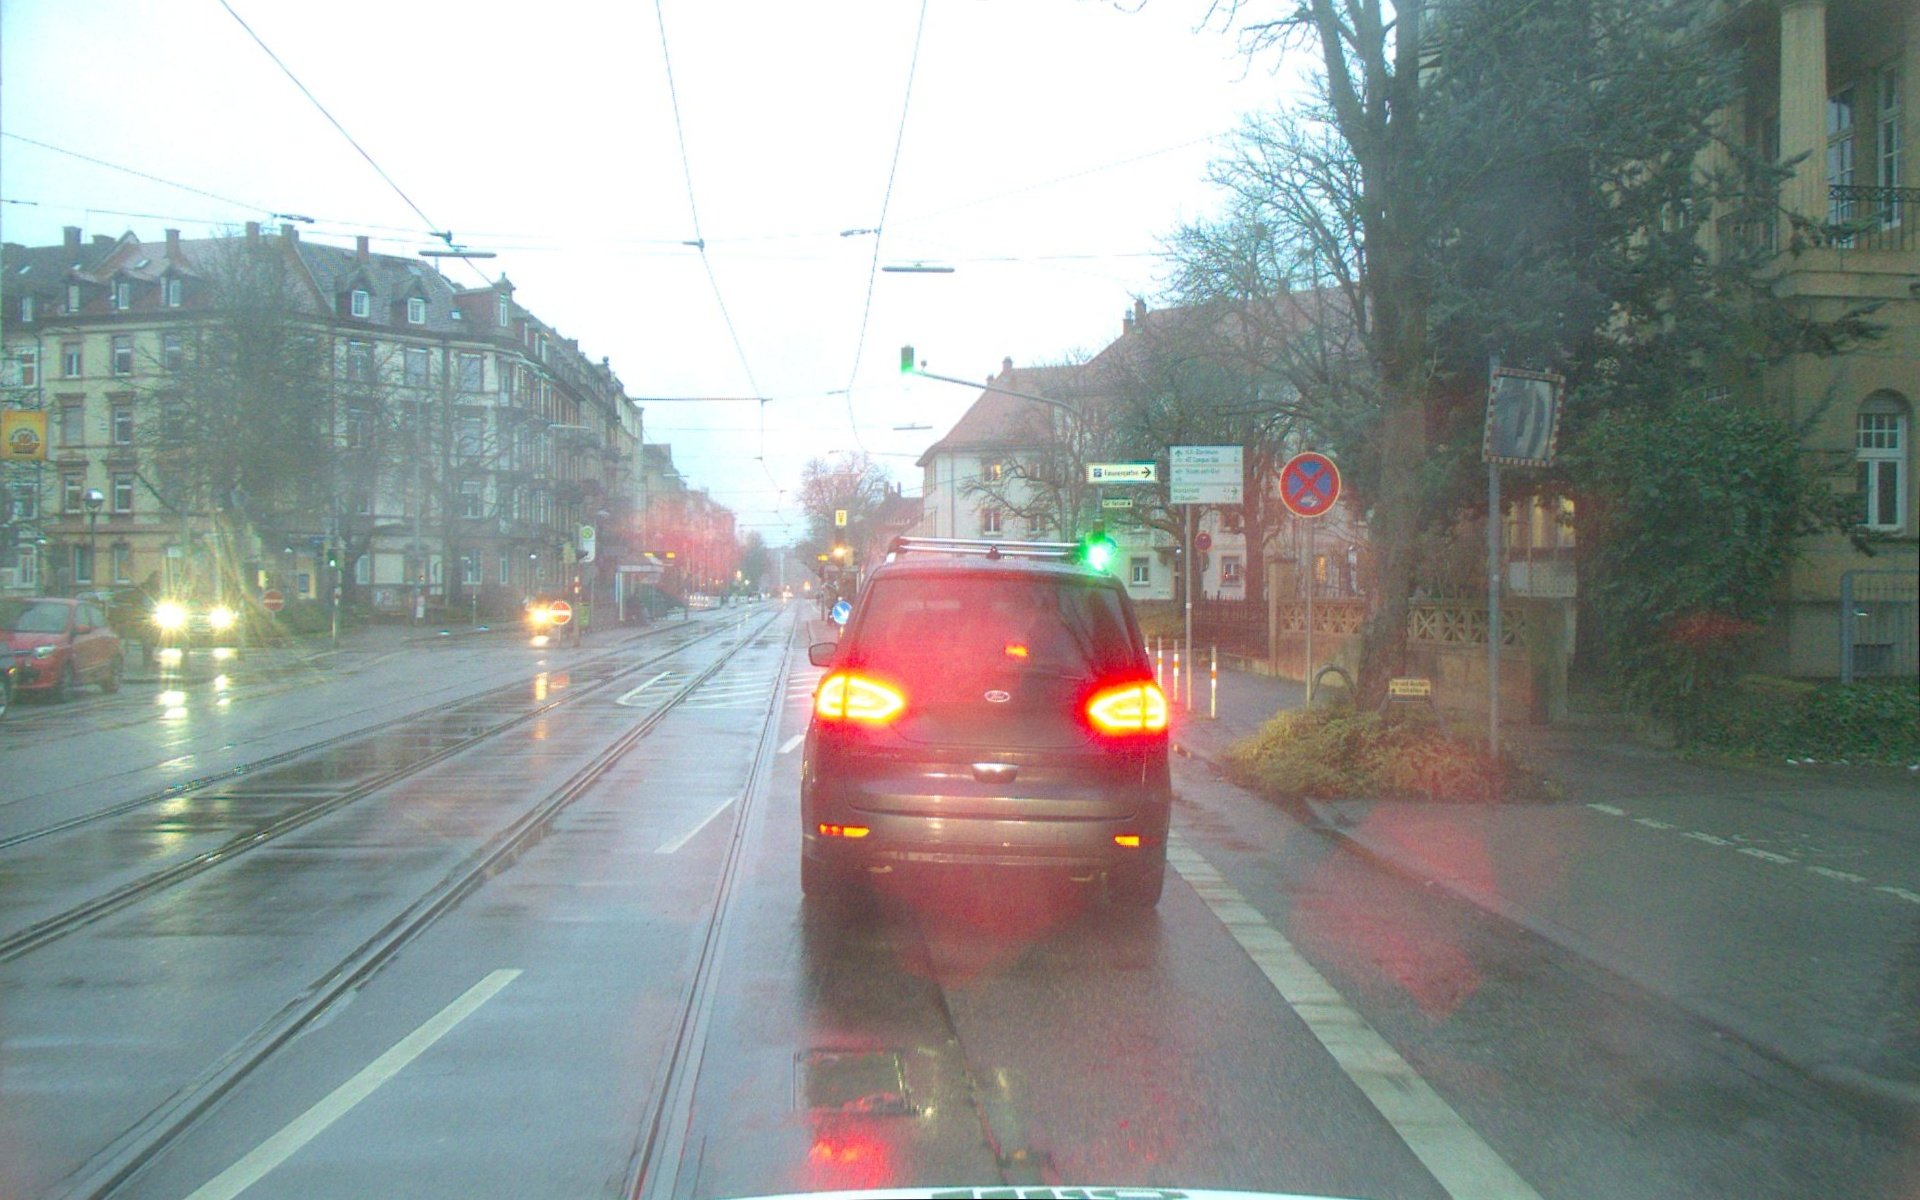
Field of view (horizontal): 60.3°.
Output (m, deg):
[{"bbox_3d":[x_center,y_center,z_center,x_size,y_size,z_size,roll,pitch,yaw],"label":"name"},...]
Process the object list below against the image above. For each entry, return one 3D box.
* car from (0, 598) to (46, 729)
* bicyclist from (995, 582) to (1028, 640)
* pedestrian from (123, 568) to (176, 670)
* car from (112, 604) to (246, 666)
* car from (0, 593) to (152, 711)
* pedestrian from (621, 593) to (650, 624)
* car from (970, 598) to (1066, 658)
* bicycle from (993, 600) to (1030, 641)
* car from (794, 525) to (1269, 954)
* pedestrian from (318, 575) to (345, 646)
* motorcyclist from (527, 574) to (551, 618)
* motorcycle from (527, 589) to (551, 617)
[{"bbox_3d":[-13.303,0.766,20.300,1.949,1.674,4.623,5,-1,-7],"label":"car"},{"bbox_3d":[1.558,0.325,50.279,0.704,1.691,1.054,3,0,-9],"label":"bicyclist"},{"bbox_3d":[-16.439,0.379,33.542,0.742,2.049,0.646,0,-1,31],"label":"pedestrian"},{"bbox_3d":[-22.887,0.985,48.438,3.922,1.702,2.014,0,0,37],"label":"car"},{"bbox_3d":[-14.512,0.758,26.150,2.001,1.578,4.022,3,0,-10],"label":"car"},{"bbox_3d":[-12.994,0.343,66.281,1.027,1.221,0.884,0,-1,-4],"label":"pedestrian"},{"bbox_3d":[1.493,0.650,41.038,1.629,1.400,4.003,0,0,13],"label":"car"},{"bbox_3d":[1.548,0.612,50.348,0.704,1.131,1.937,4,0,-9],"label":"bicycle"},{"bbox_3d":[0.207,0.609,9.624,2.062,1.848,4.658,2,0,-3],"label":"car"},{"bbox_3d":[-18.280,0.288,48.082,0.695,2.049,0.655,0,0,-25],"label":"pedestrian"},{"bbox_3d":[-15.503,-0.149,60.853,0.830,1.575,1.011,0,0,-15],"label":"motorcyclist"},{"bbox_3d":[-15.506,0.109,60.846,0.841,1.009,1.911,0,0,-15],"label":"motorcycle"}]
